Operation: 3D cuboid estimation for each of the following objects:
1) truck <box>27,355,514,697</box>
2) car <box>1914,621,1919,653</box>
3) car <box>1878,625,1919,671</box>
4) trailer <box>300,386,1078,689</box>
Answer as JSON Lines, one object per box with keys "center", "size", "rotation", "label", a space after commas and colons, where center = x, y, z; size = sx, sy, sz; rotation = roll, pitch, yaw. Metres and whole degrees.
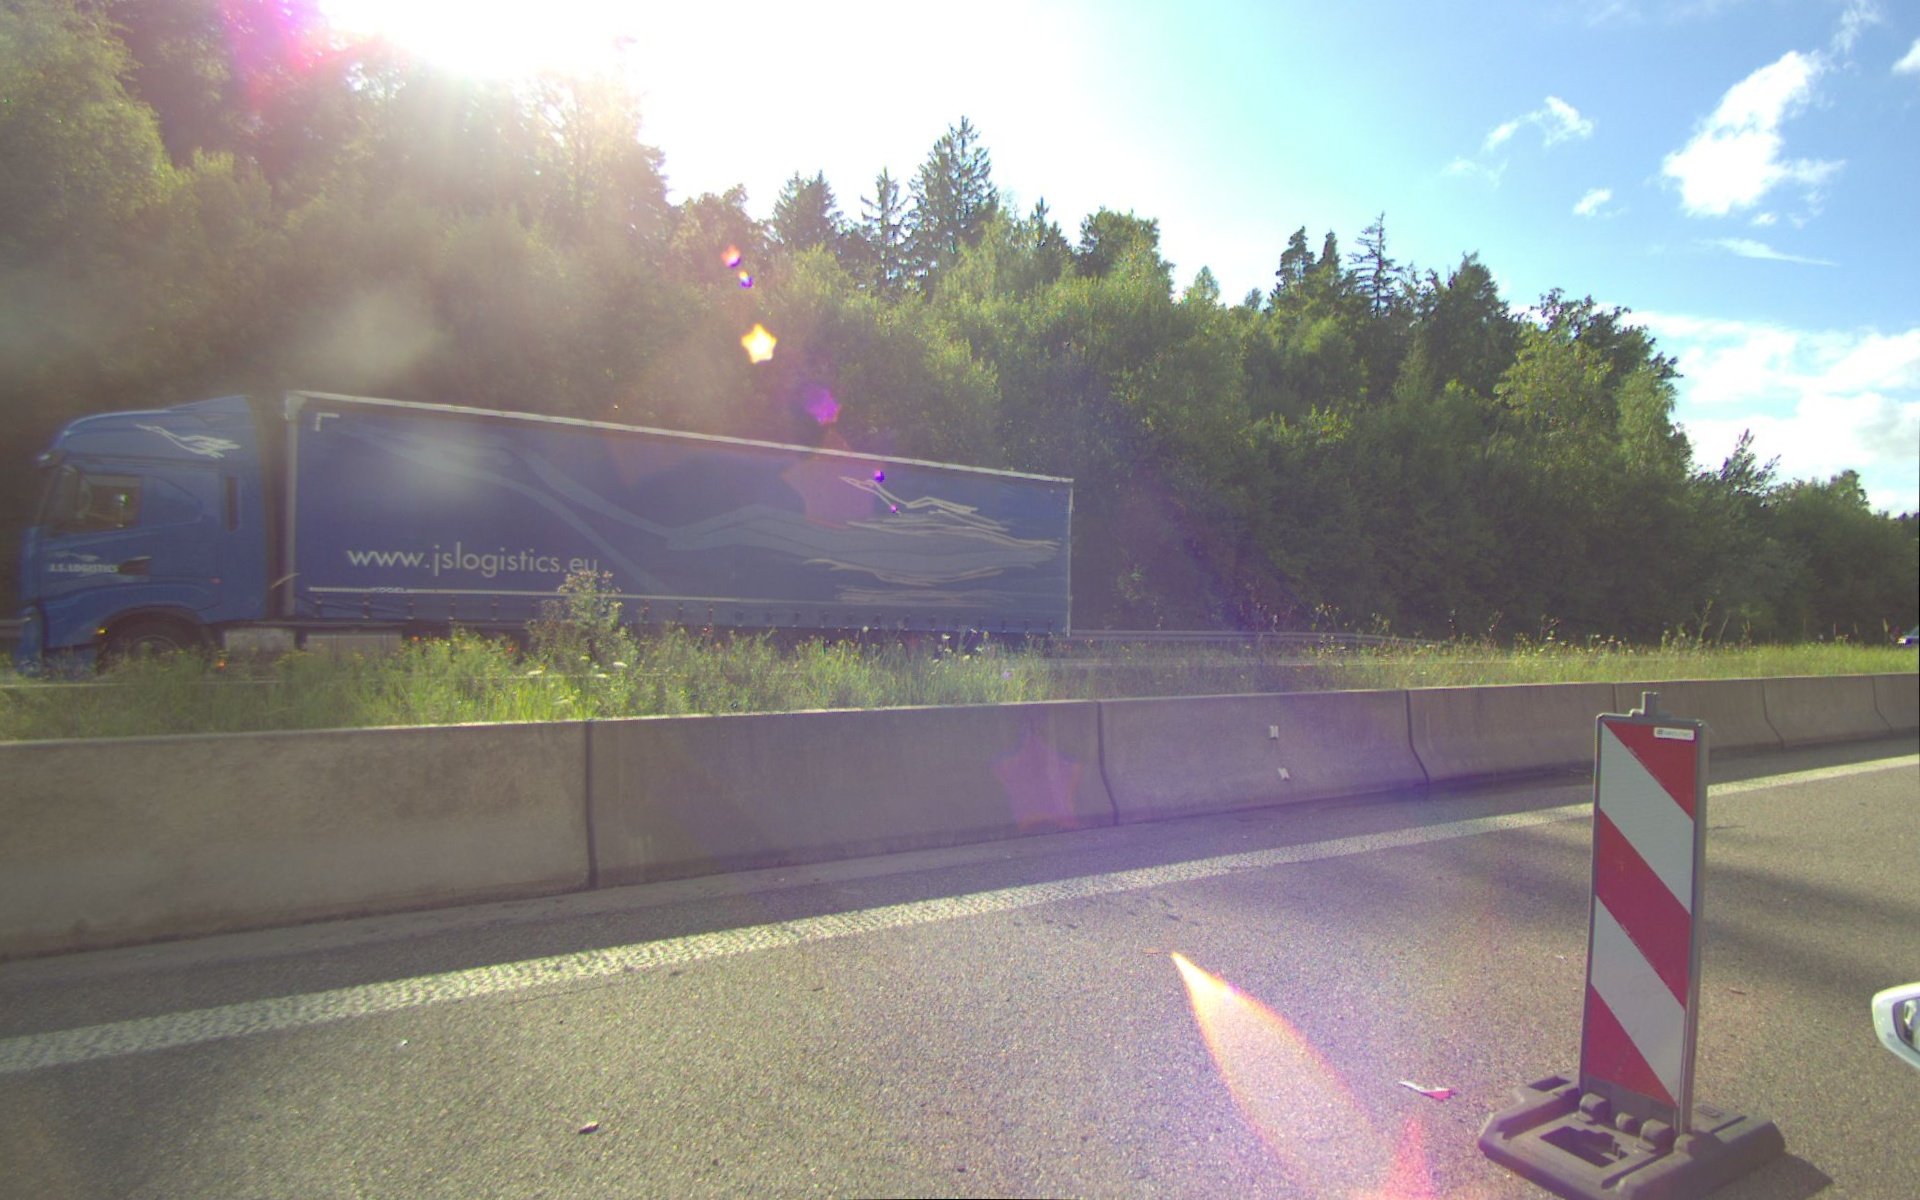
{"center": [-9.790, -0.834, 14.957], "size": [5.404, 4.245, 2.625], "rotation": [2, 0, -30], "label": "truck"}
{"center": [64.247, 2.488, 65.459], "size": [3.953, 2.040, 1.984], "rotation": [2, 0, -30], "label": "car"}
{"center": [38.526, 1.928, 40.152], "size": [3.481, 1.728, 1.707], "rotation": [2, 0, -30], "label": "car"}
{"center": [-3.992, -0.631, 18.376], "size": [13.217, 4.196, 2.607], "rotation": [2, 0, -31], "label": "trailer"}
